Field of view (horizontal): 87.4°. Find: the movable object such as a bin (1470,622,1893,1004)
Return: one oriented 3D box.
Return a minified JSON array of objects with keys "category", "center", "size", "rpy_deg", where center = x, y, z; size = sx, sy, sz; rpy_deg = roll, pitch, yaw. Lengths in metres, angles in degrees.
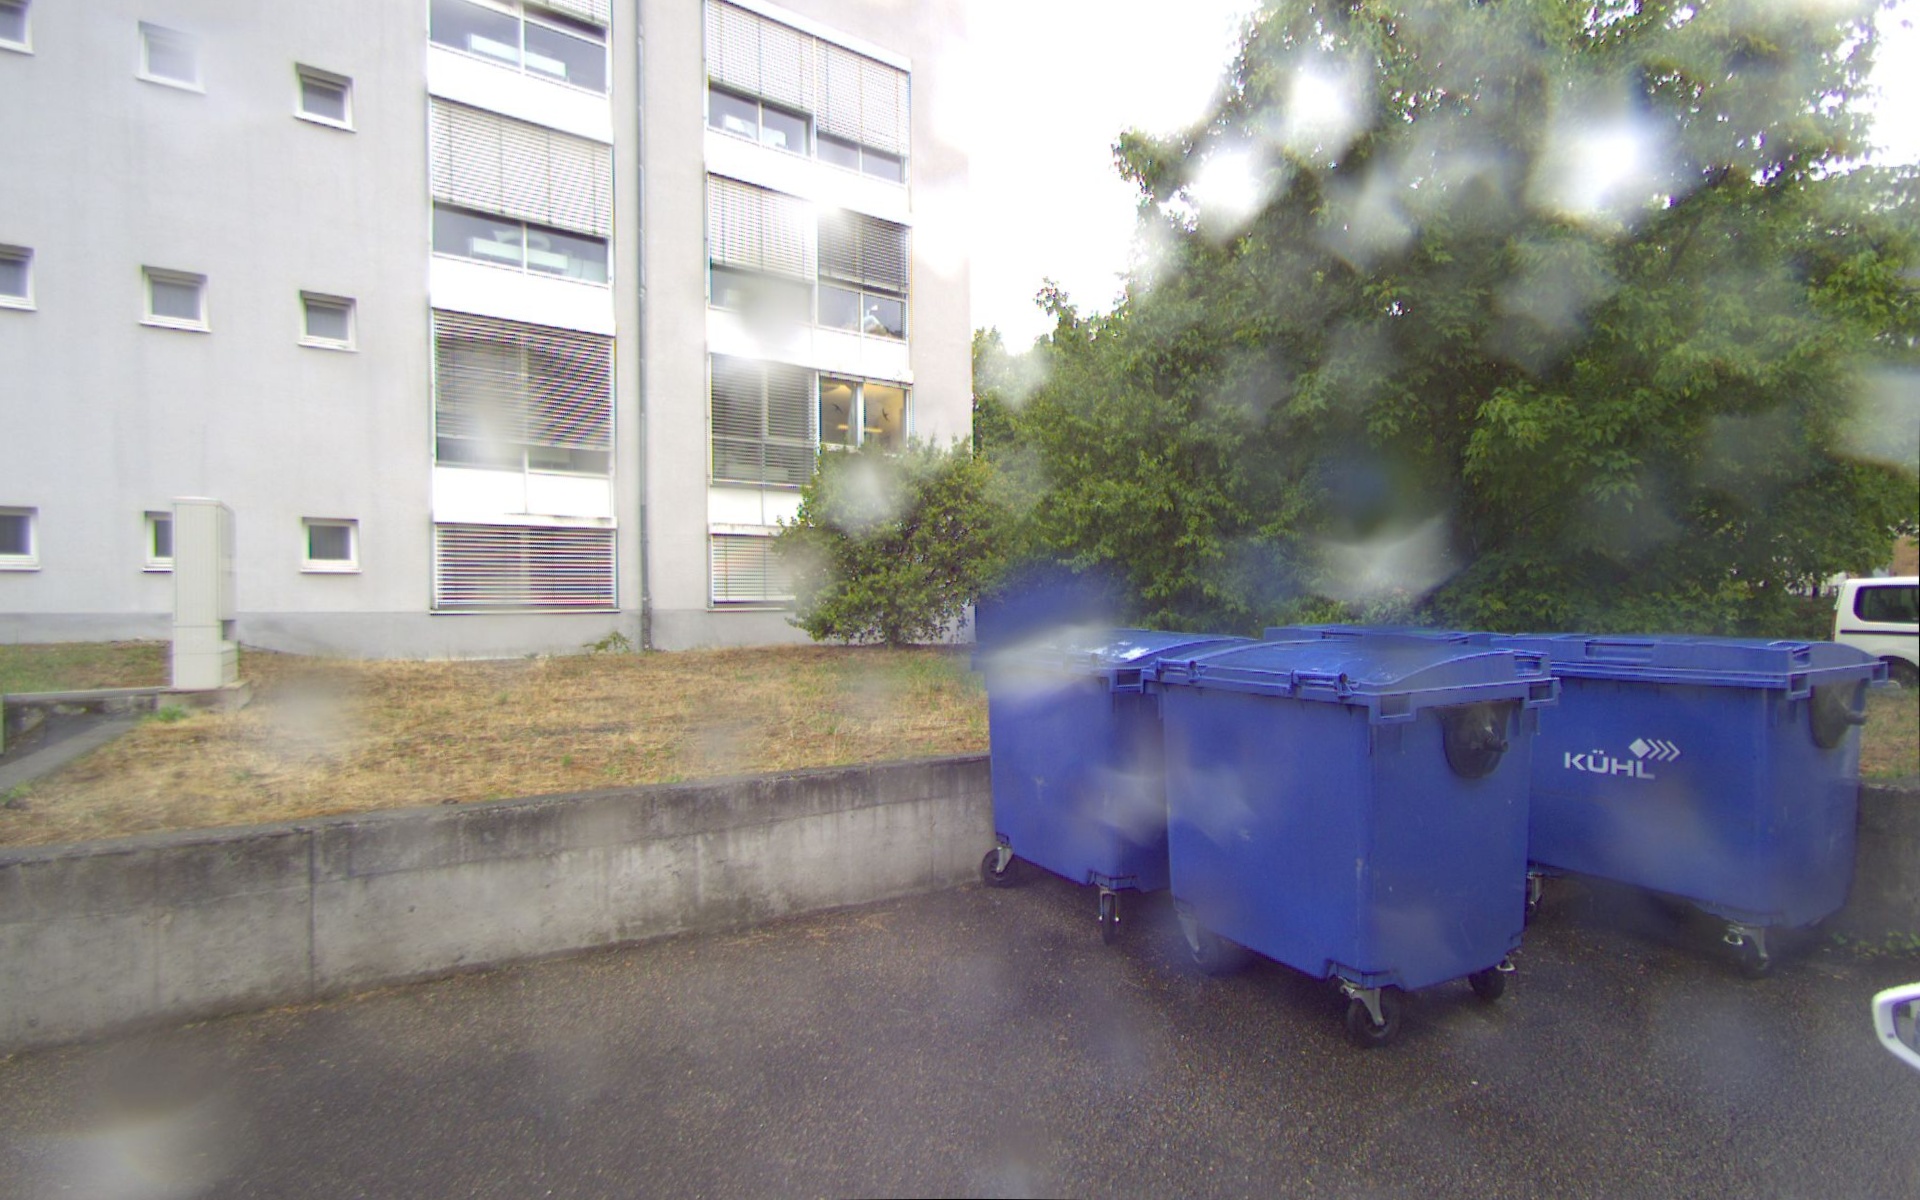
[{"category":"movable object such as a bin","center":[3.124,0.791,4.429],"size":[0.994,1.355,1.216],"rpy_deg":[-1,0,-30]}]

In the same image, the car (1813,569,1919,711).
[{"category":"car","center":[15.220,0.529,13.941],"size":[1.976,2.040,4.760],"rpy_deg":[-1,-1,-29]}]

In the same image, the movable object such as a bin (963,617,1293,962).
[{"category":"movable object such as a bin","center":[0.798,0.808,4.986],"size":[1.103,1.355,1.197],"rpy_deg":[-2,2,-30]}]

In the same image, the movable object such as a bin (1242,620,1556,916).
[{"category":"movable object such as a bin","center":[2.366,0.806,5.513],"size":[0.994,1.355,1.216],"rpy_deg":[-2,0,-30]}]

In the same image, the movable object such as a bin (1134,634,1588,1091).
[{"category":"movable object such as a bin","center":[1.473,0.827,3.856],"size":[1.102,1.355,1.199],"rpy_deg":[0,0,-26]}]
